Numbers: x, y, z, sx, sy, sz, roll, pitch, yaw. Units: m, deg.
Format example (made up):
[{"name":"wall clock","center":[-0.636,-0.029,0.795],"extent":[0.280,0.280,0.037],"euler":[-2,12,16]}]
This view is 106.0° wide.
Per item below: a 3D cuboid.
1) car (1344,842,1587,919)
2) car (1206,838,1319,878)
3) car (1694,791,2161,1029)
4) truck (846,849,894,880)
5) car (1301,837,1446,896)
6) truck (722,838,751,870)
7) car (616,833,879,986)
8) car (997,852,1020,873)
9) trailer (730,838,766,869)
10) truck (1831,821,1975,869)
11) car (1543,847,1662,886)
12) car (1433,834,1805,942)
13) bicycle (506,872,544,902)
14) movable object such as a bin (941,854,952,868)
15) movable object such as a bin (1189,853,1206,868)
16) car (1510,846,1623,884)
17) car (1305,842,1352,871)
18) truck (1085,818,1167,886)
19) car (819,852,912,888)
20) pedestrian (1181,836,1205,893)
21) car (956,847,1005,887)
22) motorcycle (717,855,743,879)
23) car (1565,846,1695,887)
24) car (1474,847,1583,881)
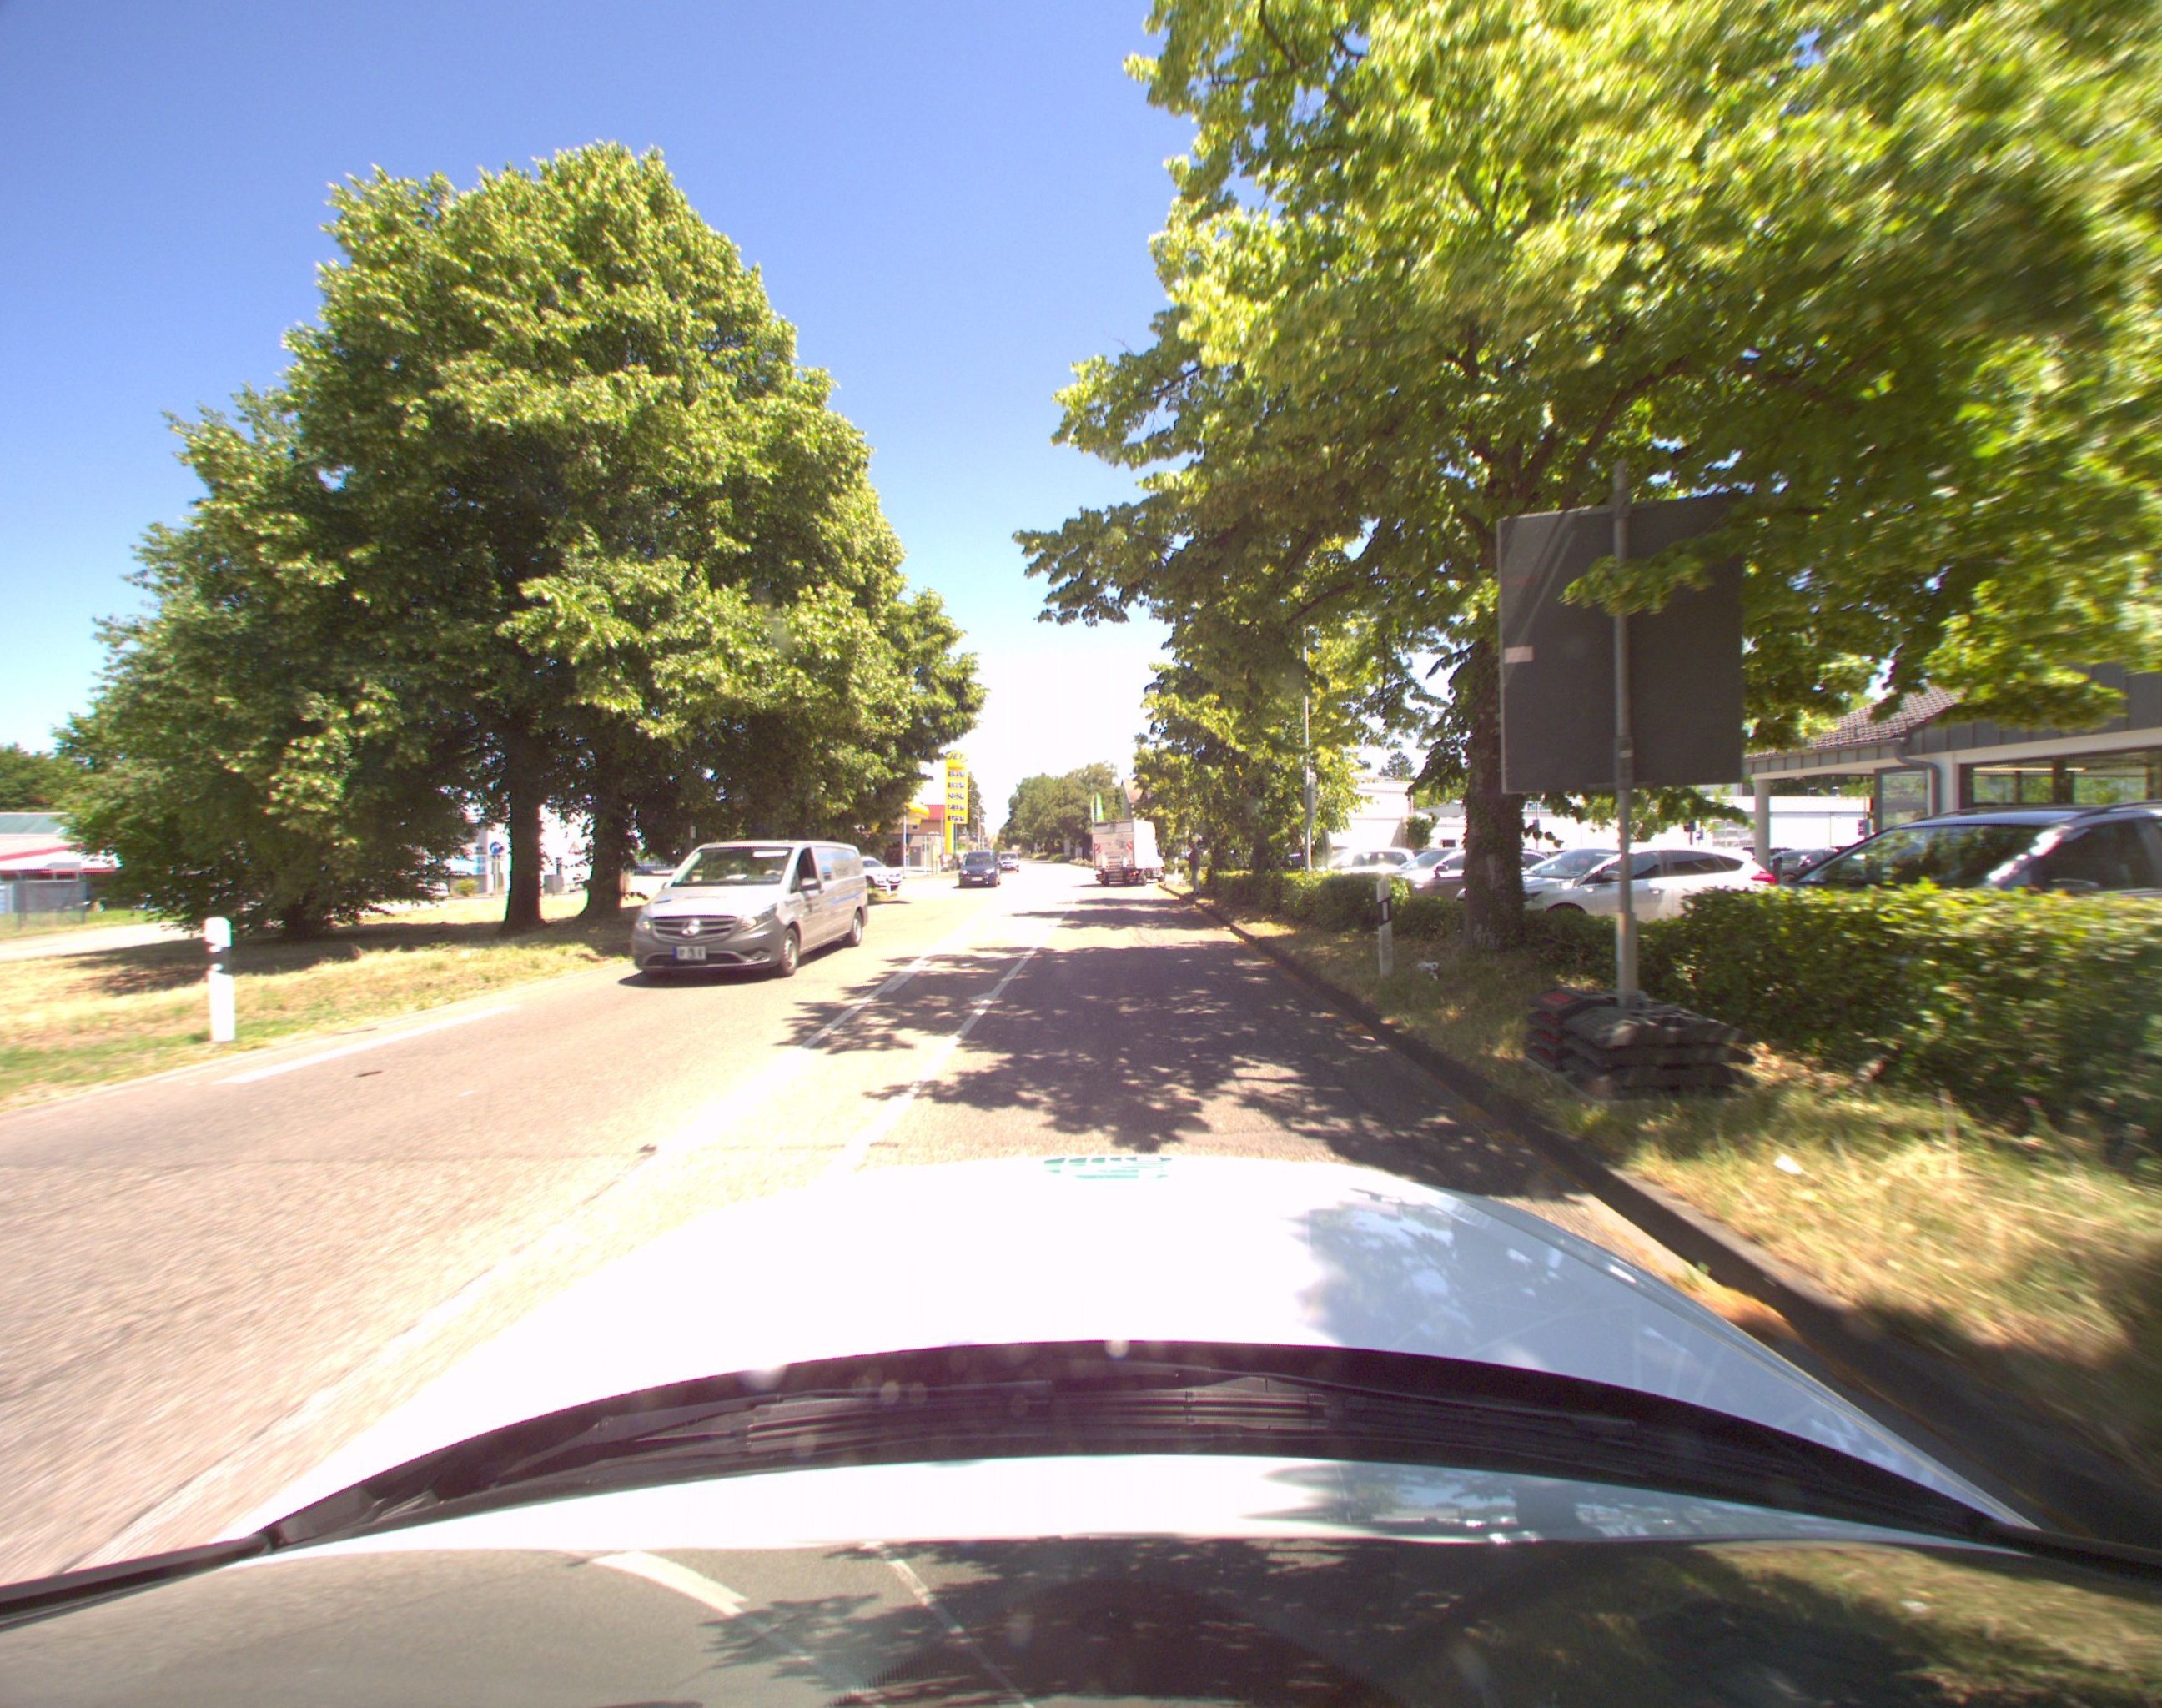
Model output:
[{"name":"car","center":[7.966,0.510,17.106],"extent":[4.302,1.481,1.807],"euler":[-1,0,-5]},{"name":"car","center":[7.723,0.170,34.966],"extent":[4.496,1.667,1.896],"euler":[0,0,2]},{"name":"car","center":[8.267,0.399,6.854],"extent":[4.836,1.676,1.998],"euler":[0,0,-3]},{"name":"truck","center":[-18.345,0.926,71.182],"extent":[2.225,2.598,6.735],"euler":[0,-1,2]},{"name":"car","center":[7.910,0.323,22.177],"extent":[3.392,1.506,1.579],"euler":[-1,0,-5]},{"name":"truck","center":[-35.054,-0.034,82.921],"extent":[1.843,3.242,3.183],"euler":[0,1,-5]},{"name":"car","center":[-4.716,0.672,12.572],"extent":[1.872,1.834,5.298],"euler":[-1,0,0]},{"name":"car","center":[-6.303,0.700,71.325],"extent":[1.791,1.772,4.361],"euler":[-1,0,-2]},{"name":"trailer","center":[-35.404,-0.081,86.753],"extent":[1.862,3.219,5.902],"euler":[0,0,-5]},{"name":"truck","center":[43.237,-0.473,42.933],"extent":[5.451,2.457,2.179],"euler":[0,-1,0]},{"name":"car","center":[20.315,0.474,31.816],"extent":[3.587,1.457,1.745],"euler":[0,0,-2]},{"name":"car","center":[7.617,0.443,11.805],"extent":[4.222,1.411,1.950],"euler":[0,0,-5]},{"name":"bicycle","center":[-26.098,1.554,38.227],"extent":[1.529,1.349,0.395],"euler":[-1,0,4]},{"name":"movable object such as a bin","center":[-14.728,0.776,89.391],"extent":[0.950,1.517,1.425],"euler":[4,0,-5]},{"name":"movable object such as a bin","center":[11.775,0.633,82.436],"extent":[1.557,1.422,0.702],"euler":[-3,0,1]},{"name":"car","center":[20.318,0.448,34.159],"extent":[3.712,1.504,1.817],"euler":[0,0,-2]},{"name":"car","center":[17.071,0.171,56.338],"extent":[1.702,1.890,4.249],"euler":[0,-1,-5]},{"name":"truck","center":[2.256,-0.114,38.613],"extent":[2.395,2.948,5.981],"euler":[-1,0,18]},{"name":"car","center":[-10.484,0.760,39.643],"extent":[4.194,1.672,1.988],"euler":[-1,0,31]},{"name":"pedestrian","center":[3.605,0.334,26.158],"extent":[0.725,1.789,0.622],"euler":[0,-1,7]},{"name":"car","center":[-4.850,0.617,39.995],"extent":[1.818,1.781,4.780],"euler":[-2,0,-1]},{"name":"motorcycle","center":[-30.789,1.134,71.470],"extent":[0.832,2.014,2.798],"euler":[0,-1,7]},{"name":"car","center":[19.673,0.445,29.268],"extent":[3.587,1.417,1.671],"euler":[0,0,-2]},{"name":"car","center":[20.102,0.459,36.713],"extent":[4.005,1.477,1.727],"euler":[0,-1,-1]}]
